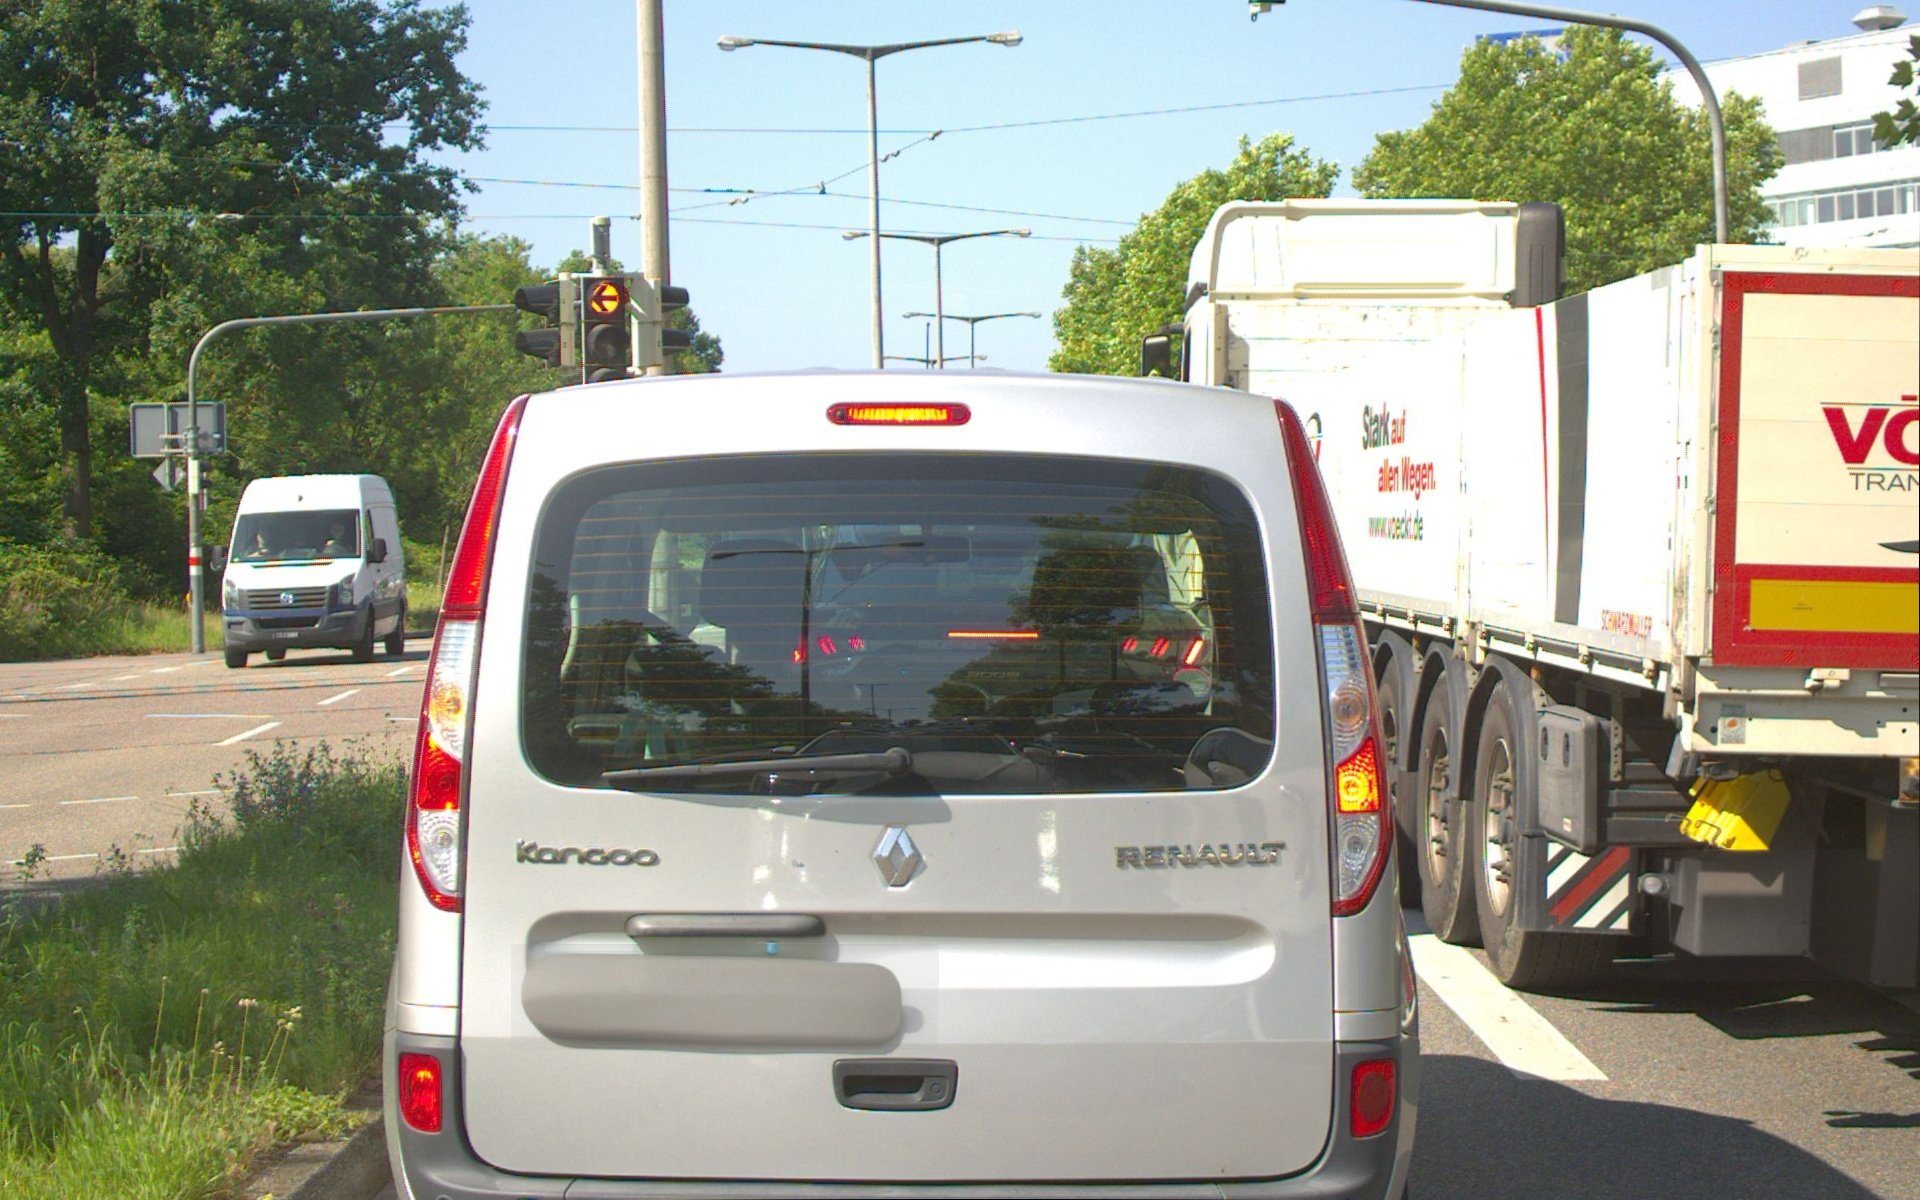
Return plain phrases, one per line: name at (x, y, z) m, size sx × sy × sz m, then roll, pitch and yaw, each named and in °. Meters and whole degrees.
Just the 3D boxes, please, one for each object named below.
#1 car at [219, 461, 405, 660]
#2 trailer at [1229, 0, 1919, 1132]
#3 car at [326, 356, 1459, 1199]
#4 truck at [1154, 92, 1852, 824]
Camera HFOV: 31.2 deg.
car at (-8.999, -0.559, 48.172) m, size 2.058 × 2.605 × 5.871 m, roll 0°, pitch 1°, yaw -6°
trailer at (3.054, -0.685, 14.247) m, size 3.016 × 3.728 × 12.240 m, roll 0°, pitch 1°, yaw 0°
car at (-0.111, 0.480, 7.288) m, size 1.749 × 1.766 × 3.949 m, roll 0°, pitch 1°, yaw 0°
truck at (2.993, -0.776, 21.360) m, size 3.071 × 3.745 × 7.477 m, roll 0°, pitch 1°, yaw -1°
